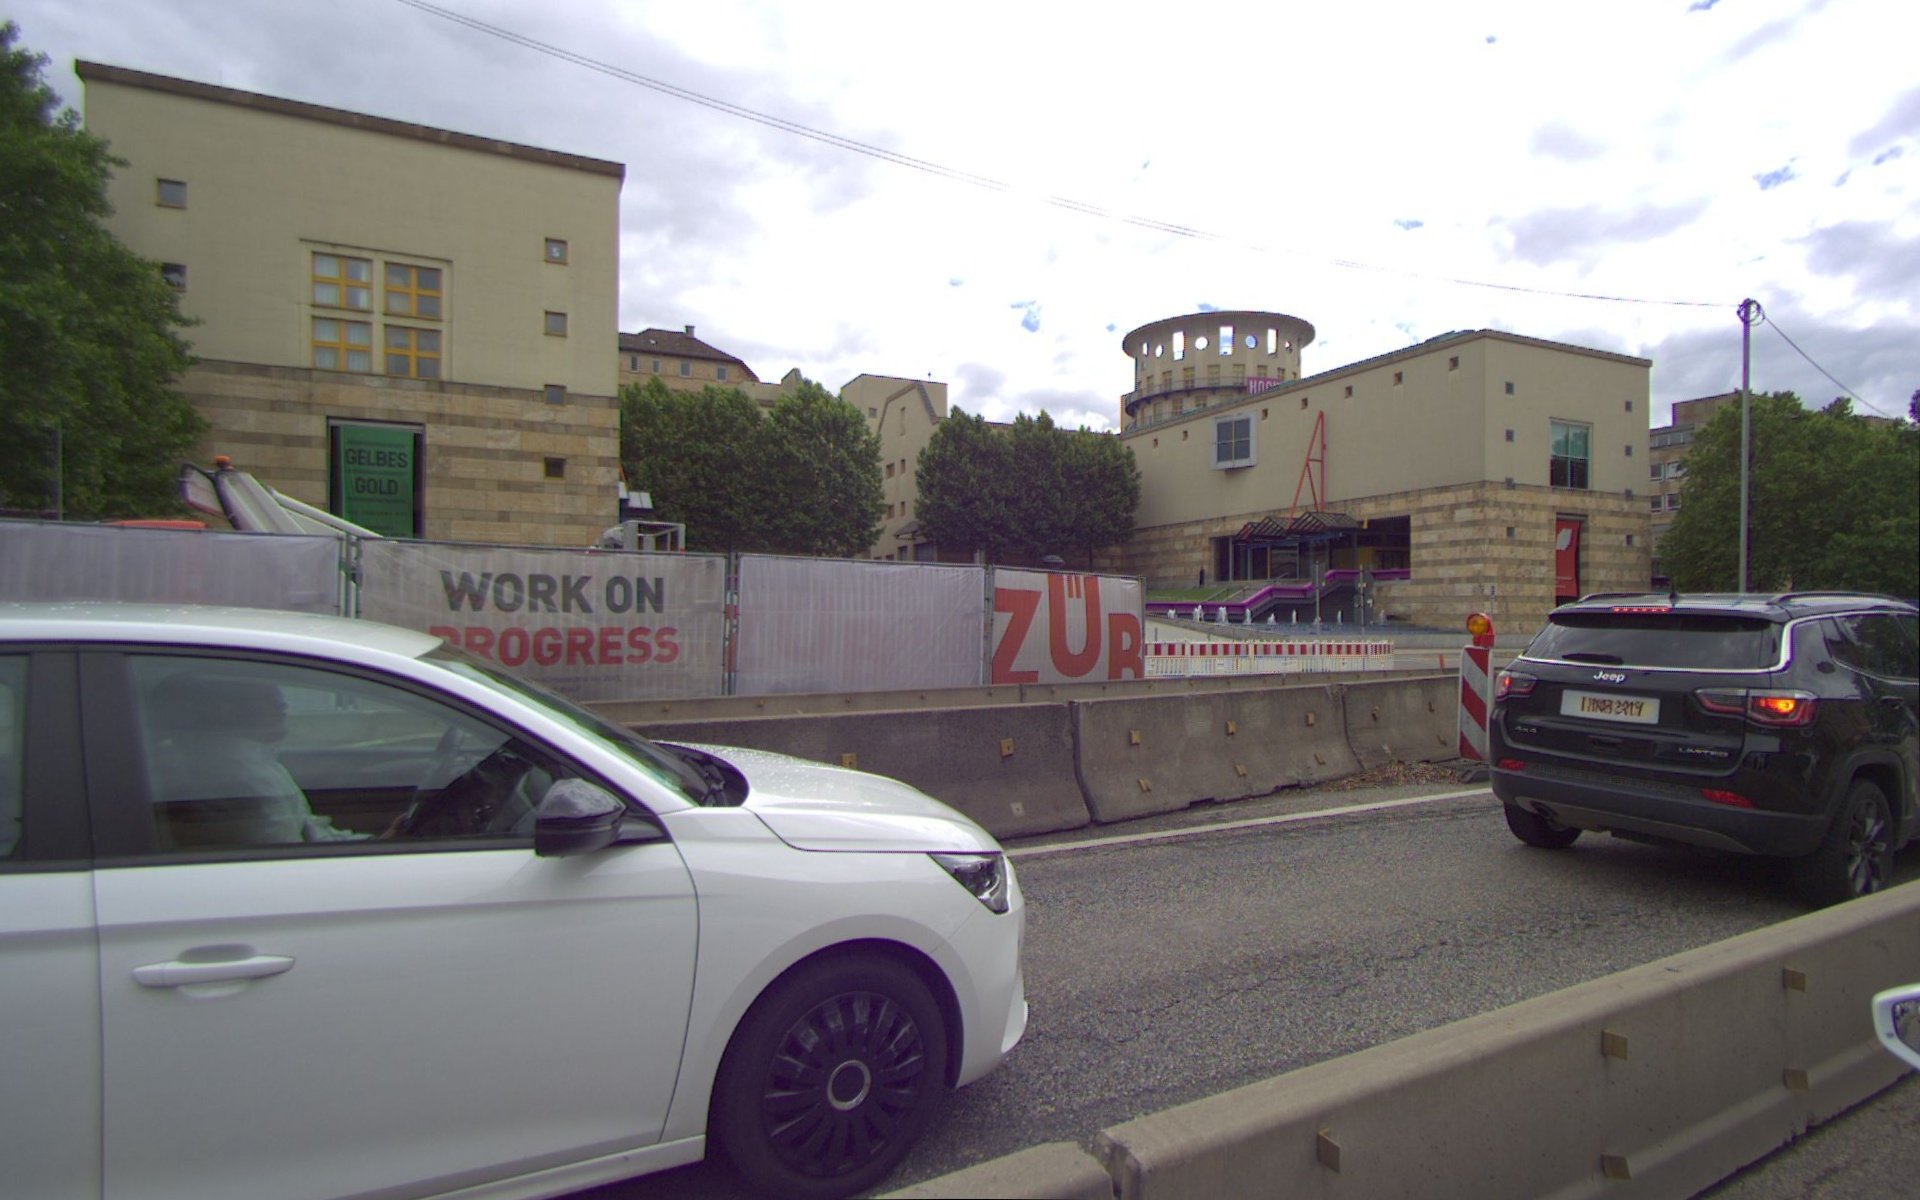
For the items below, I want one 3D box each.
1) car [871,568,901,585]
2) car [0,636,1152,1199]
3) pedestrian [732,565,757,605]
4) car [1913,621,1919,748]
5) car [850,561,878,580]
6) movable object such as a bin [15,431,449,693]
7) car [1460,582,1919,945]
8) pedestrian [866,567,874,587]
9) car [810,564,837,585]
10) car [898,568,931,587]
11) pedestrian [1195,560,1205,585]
[{"bbox_3d":[-7.005,-2.216,94.983,1.589,1.557,3.783,1,1,-25],"label":"car"},{"bbox_3d":[-1.555,0.794,2.656,3.889,1.313,1.718,2,0,-31],"label":"car"},{"bbox_3d":[-10.991,-0.768,51.284,1.077,2.041,0.916,1,1,-21],"label":"pedestrian"},{"bbox_3d":[13.817,1.055,12.404,4.652,1.501,1.868,1,0,-32],"label":"car"},{"bbox_3d":[-9.594,-2.983,100.237,1.589,1.822,3.783,1,1,-25],"label":"car"},{"bbox_3d":[-6.940,-0.293,9.970,3.254,2.214,1.514,1,-1,-30],"label":"movable object such as a bin"},{"bbox_3d":[5.196,0.778,6.327,3.999,1.642,1.767,2,0,-31],"label":"car"},{"bbox_3d":[-8.297,-2.134,92.359,0.534,1.808,0.464,1,0,-23],"label":"pedestrian"},{"bbox_3d":[-12.397,-2.318,91.029,1.587,1.822,3.787,1,1,-22],"label":"car"},{"bbox_3d":[-4.060,-2.010,88.670,1.589,1.557,3.783,1,1,-25],"label":"car"},{"bbox_3d":[20.187,-2.329,84.476,0.593,2.041,0.410,1,1,-26],"label":"pedestrian"}]
